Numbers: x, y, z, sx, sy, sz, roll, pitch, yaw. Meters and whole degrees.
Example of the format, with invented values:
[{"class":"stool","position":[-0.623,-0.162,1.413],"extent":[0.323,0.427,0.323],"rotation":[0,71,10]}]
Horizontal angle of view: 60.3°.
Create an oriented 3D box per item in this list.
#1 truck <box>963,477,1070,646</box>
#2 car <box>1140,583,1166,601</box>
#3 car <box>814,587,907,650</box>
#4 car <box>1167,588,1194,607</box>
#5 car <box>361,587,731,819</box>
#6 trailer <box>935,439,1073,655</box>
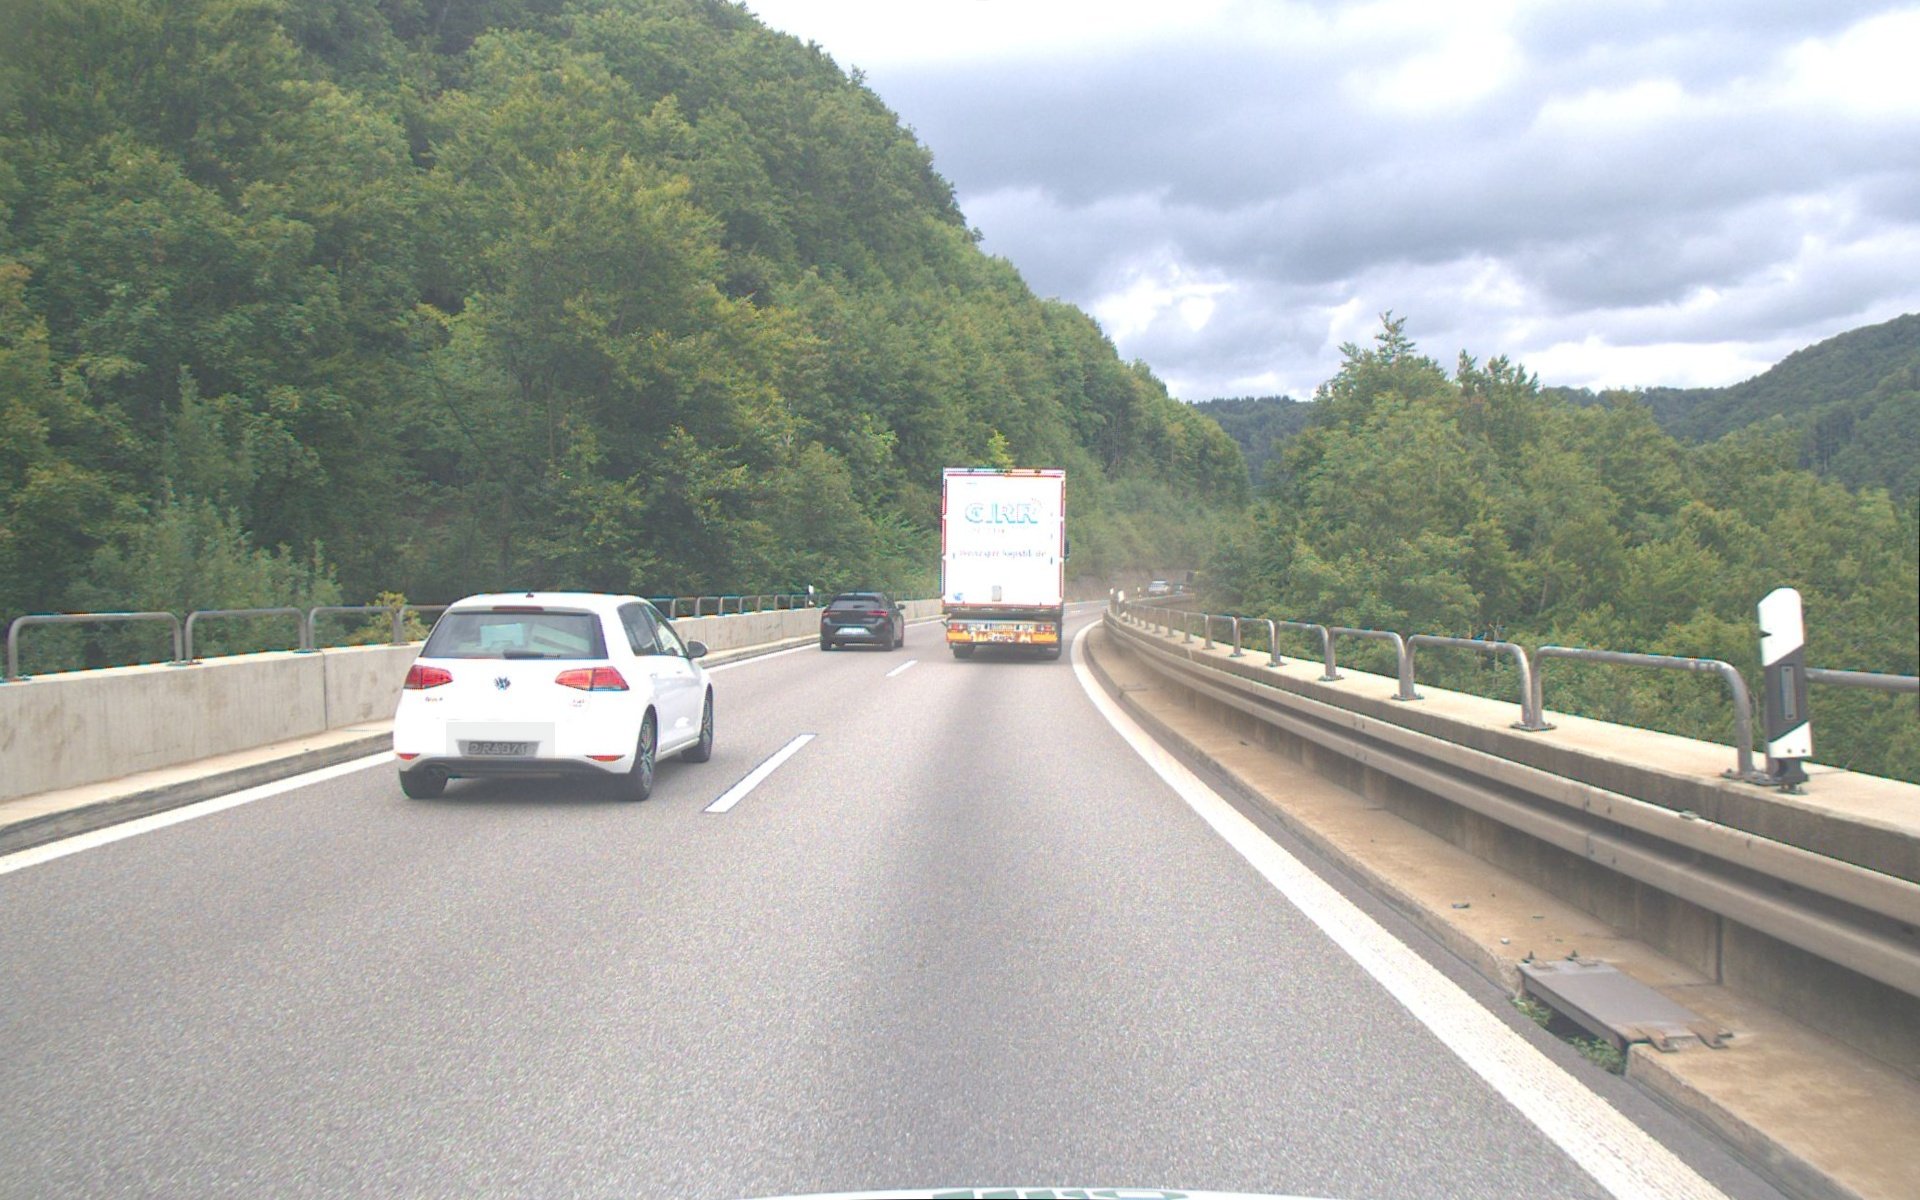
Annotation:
[{"class":"truck","position":[1.658,-0.967,46.246],"extent":[2.754,4.378,6.261],"rotation":[-1,-1,3]},{"class":"car","position":[18.527,-0.738,158.896],"extent":[1.951,1.593,4.003],"rotation":[0,-1,14]},{"class":"car","position":[-2.430,0.454,41.434],"extent":[1.736,1.486,4.583],"rotation":[0,0,4]},{"class":"car","position":[19.977,-0.230,149.833],"extent":[1.951,1.593,4.003],"rotation":[0,-1,14]},{"class":"car","position":[-3.015,0.655,13.086],"extent":[1.807,1.507,4.627],"rotation":[0,0,-1]},{"class":"trailer","position":[1.257,-1.017,39.807],"extent":[2.754,4.378,12.249],"rotation":[-1,-1,3]}]
